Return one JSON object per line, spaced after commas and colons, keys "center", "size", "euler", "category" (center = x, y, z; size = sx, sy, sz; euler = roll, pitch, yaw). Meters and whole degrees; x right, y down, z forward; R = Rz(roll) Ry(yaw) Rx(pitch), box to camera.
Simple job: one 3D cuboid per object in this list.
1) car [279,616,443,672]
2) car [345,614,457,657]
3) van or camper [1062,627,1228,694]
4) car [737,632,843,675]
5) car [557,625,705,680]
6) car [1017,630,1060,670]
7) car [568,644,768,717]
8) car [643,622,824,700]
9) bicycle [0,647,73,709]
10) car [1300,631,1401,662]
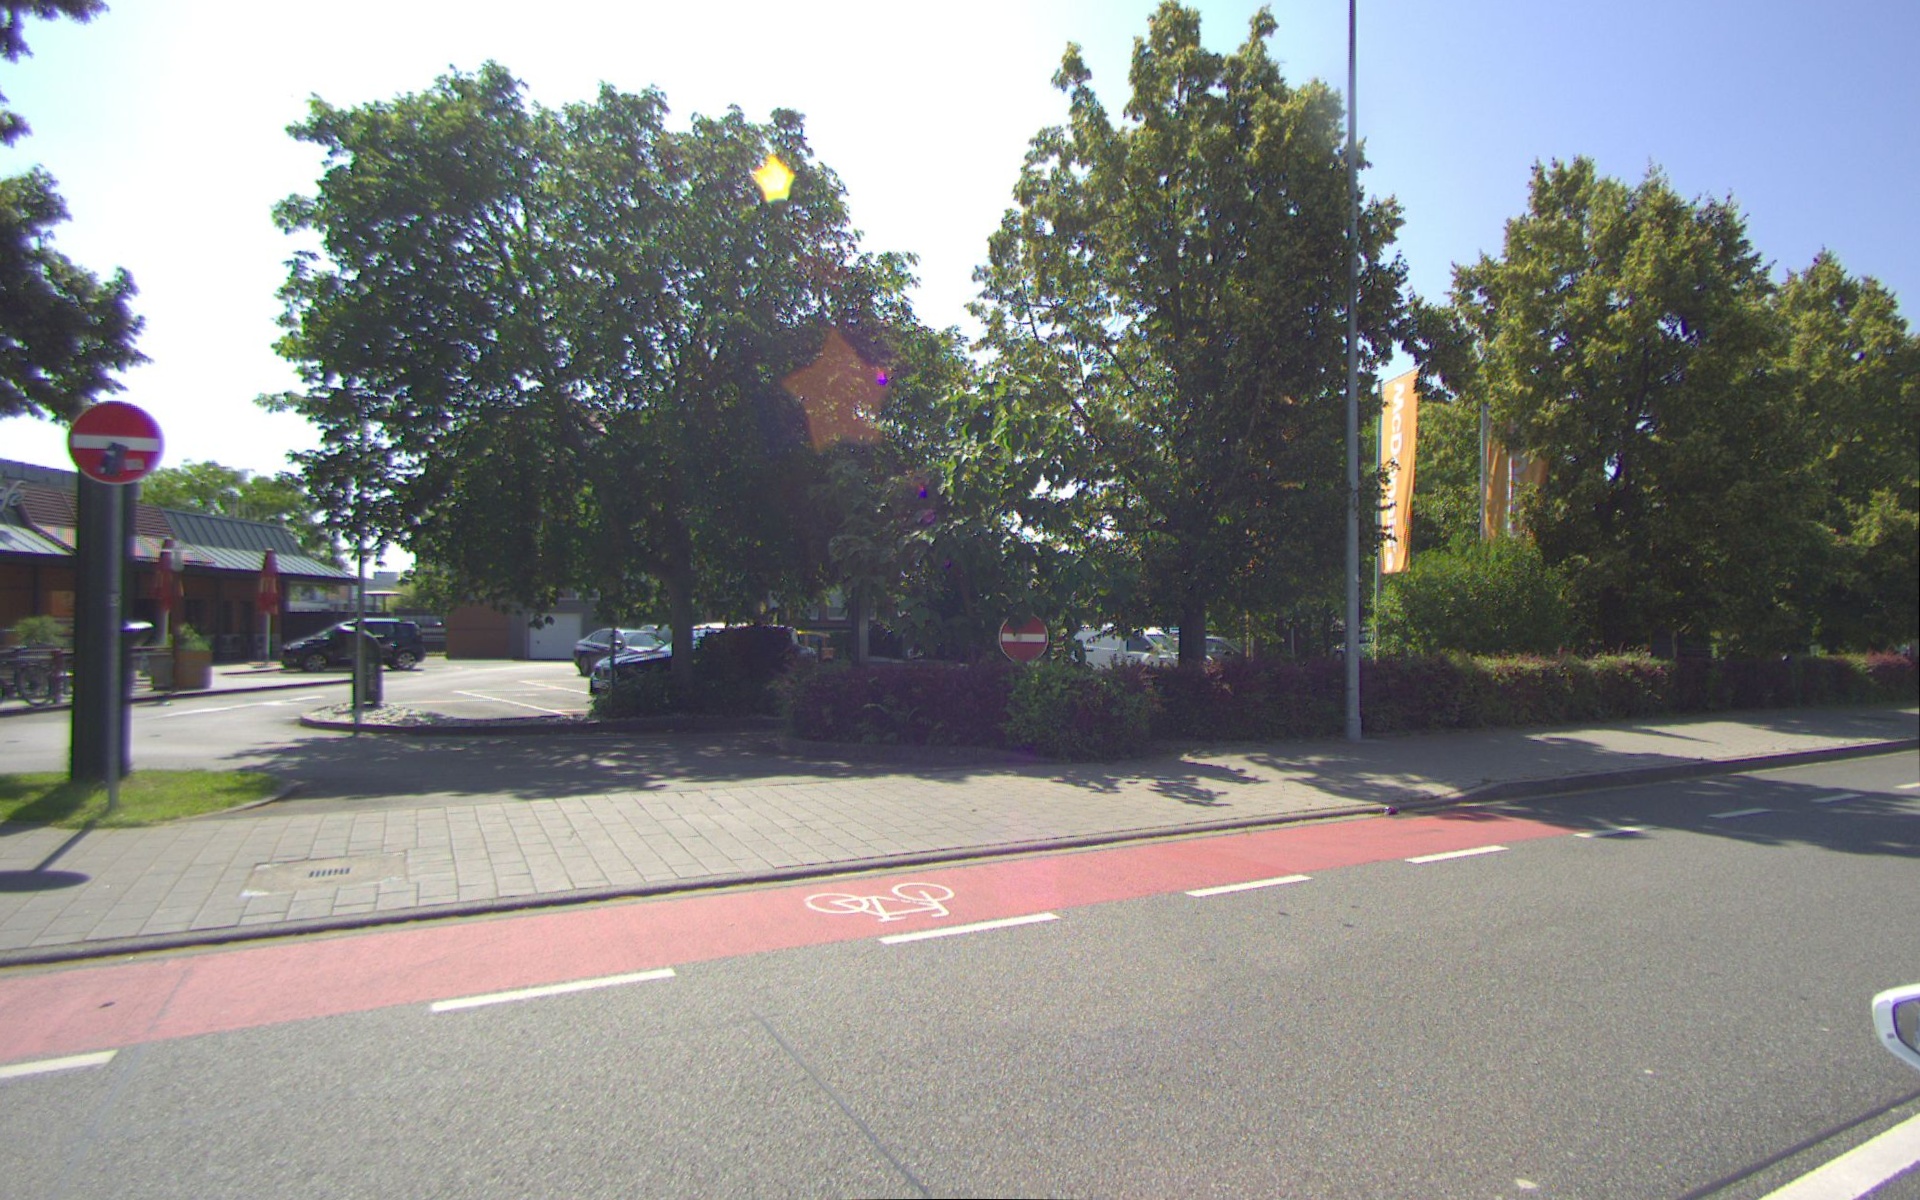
{"center": [-19.575, 1.441, 32.942], "size": [4.320, 1.706, 1.752], "euler": [2, -3, -44], "category": "car"}
{"center": [-29.520, 1.868, 53.178], "size": [4.715, 2.206, 1.998], "euler": [0, -2, -8], "category": "car"}
{"center": [5.162, 1.644, 28.359], "size": [4.226, 1.763, 1.988], "euler": [-2, -2, 44], "category": "van or camper"}
{"center": [-5.832, 1.817, 34.617], "size": [3.323, 1.394, 1.570], "euler": [2, -2, -45], "category": "car"}
{"center": [-9.565, 1.471, 29.090], "size": [4.324, 1.457, 1.992], "euler": [-1, -2, 38], "category": "car"}
{"center": [3.161, 2.007, 40.772], "size": [1.472, 1.546, 3.434], "euler": [0, -2, 0], "category": "car"}
{"center": [-5.866, 1.580, 20.646], "size": [1.579, 1.302, 3.994], "euler": [-1, -2, 29], "category": "car"}
{"center": [-5.462, 1.435, 24.681], "size": [1.691, 1.758, 4.231], "euler": [-1, -2, 38], "category": "car"}
{"center": [-16.056, 1.322, 17.063], "size": [0.302, 1.005, 1.859], "euler": [0, -2, 0], "category": "bicycle"}
{"center": [19.318, 2.275, 49.771], "size": [4.226, 1.457, 1.988], "euler": [-2, -2, 44], "category": "car"}
